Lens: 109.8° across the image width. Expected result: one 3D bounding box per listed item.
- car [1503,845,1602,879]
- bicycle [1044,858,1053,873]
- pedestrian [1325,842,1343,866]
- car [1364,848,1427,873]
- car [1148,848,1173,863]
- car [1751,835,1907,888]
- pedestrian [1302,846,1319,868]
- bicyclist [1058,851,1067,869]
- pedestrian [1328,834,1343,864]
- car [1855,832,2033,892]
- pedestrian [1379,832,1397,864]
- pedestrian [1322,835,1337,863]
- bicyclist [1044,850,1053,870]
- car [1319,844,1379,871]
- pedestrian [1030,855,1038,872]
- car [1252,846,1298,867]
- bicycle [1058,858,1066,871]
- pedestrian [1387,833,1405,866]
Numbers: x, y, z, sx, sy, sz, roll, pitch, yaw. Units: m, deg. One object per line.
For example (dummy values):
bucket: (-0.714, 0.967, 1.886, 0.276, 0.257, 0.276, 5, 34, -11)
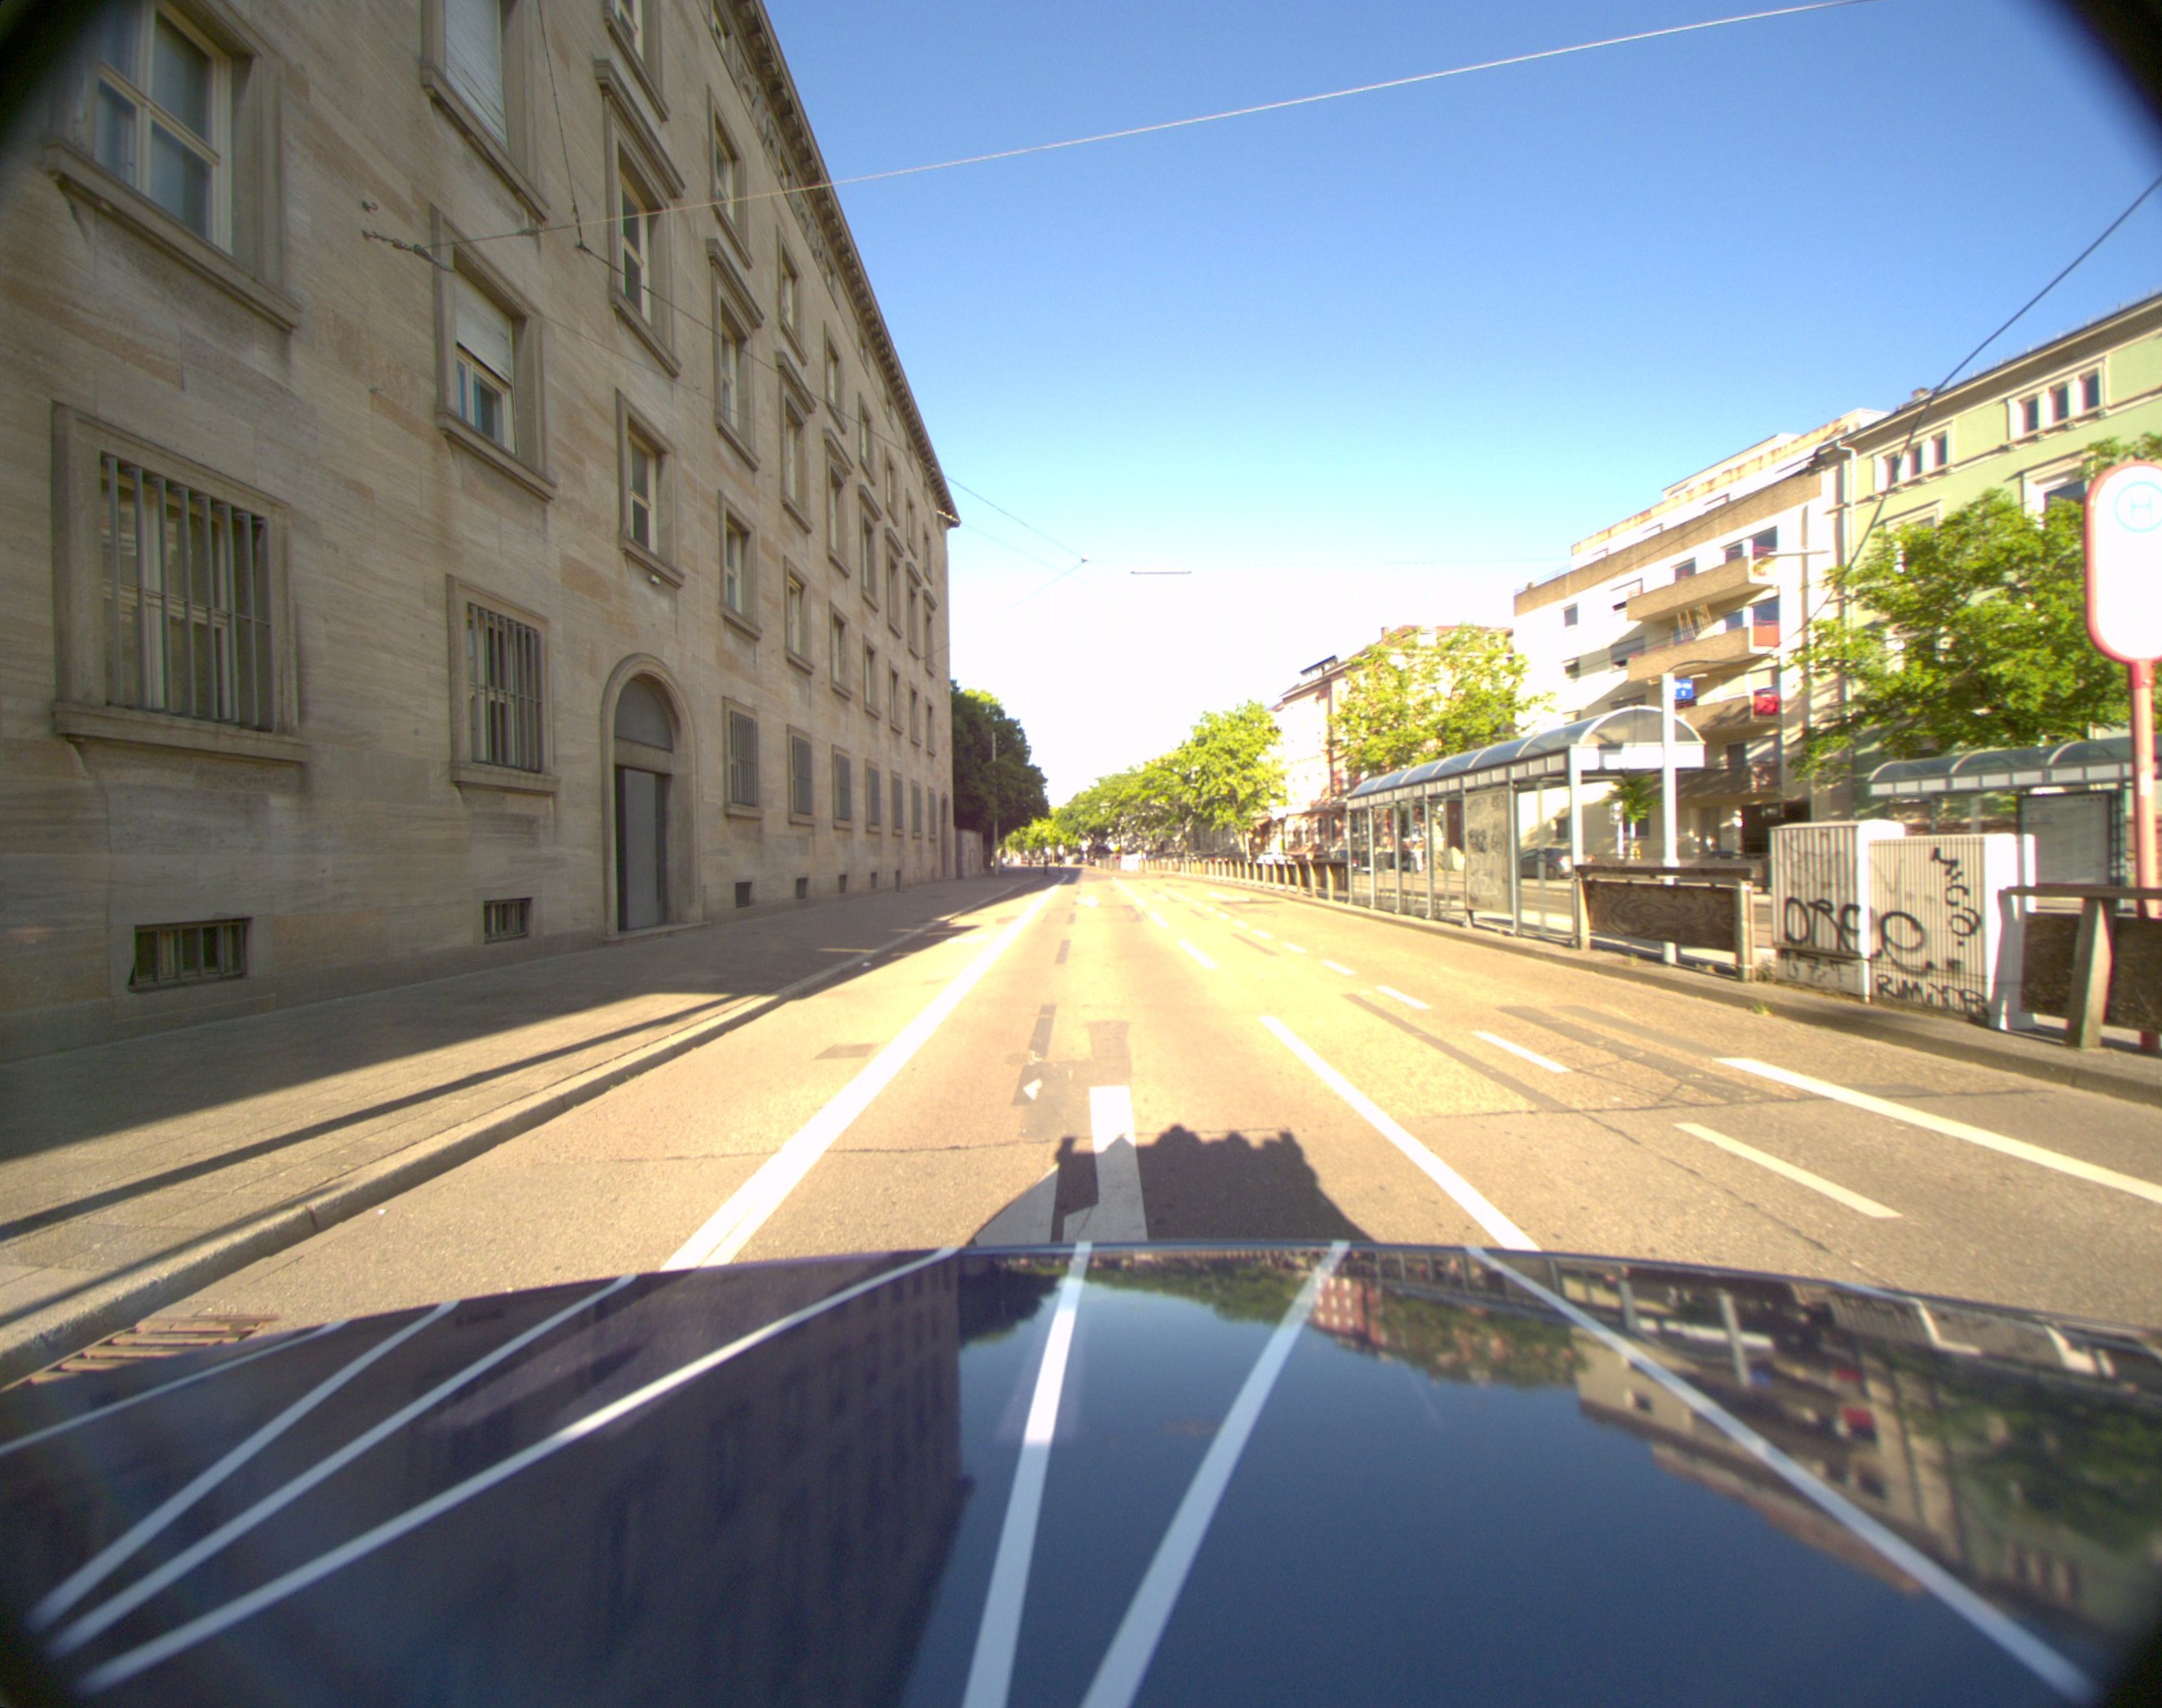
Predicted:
car: (20.938, 0.330, 33.906, 1.654, 1.419, 3.737, -1, 0, -11)
bicycle: (-2.798, 0.983, 66.280, 0.625, 1.214, 1.659, -3, 1, 1)
pedestrian: (18.458, 0.001, 55.452, 0.855, 1.710, 1.019, -1, 1, -9)
car: (18.450, 0.385, 44.748, 1.609, 1.388, 3.997, -1, 0, -9)
car: (7.602, 0.164, 73.195, 1.670, 1.400, 3.877, 0, 0, -5)
car: (23.933, 0.210, 24.341, 4.002, 1.573, 1.761, -1, 0, -14)
pedestrian: (16.718, 0.221, 55.372, 0.868, 1.619, 0.891, -1, 1, -10)
bicyclist: (-1.635, 0.550, 66.100, 0.728, 1.570, 0.775, 0, 1, 1)
pedestrian: (19.307, -0.380, 57.717, 0.813, 2.194, 0.756, -1, 1, -10)
car: (24.733, 0.208, 21.801, 4.002, 1.573, 1.761, -1, 0, -14)
pedestrian: (21.163, -0.392, 52.374, 0.813, 2.194, 0.756, -1, 1, -10)
pedestrian: (19.381, -0.400, 59.261, 0.812, 2.194, 0.756, -1, 1, -4)
bicyclist: (-2.824, 0.537, 66.264, 0.625, 1.729, 0.688, -3, 1, 1)
car: (15.683, 0.192, 44.668, 1.648, 1.480, 3.997, -1, 0, -7)
pedestrian: (-3.660, 0.752, 58.952, 0.548, 1.327, 0.587, -1, 1, 7)
car: (16.301, 0.213, 63.648, 4.134, 1.698, 1.848, -1, 1, -45)
bicycle: (-1.639, 0.913, 65.953, 0.625, 1.167, 1.566, 0, 0, 1)
pedestrian: (21.301, -0.282, 51.354, 0.813, 2.194, 0.756, -1, 1, -10)
